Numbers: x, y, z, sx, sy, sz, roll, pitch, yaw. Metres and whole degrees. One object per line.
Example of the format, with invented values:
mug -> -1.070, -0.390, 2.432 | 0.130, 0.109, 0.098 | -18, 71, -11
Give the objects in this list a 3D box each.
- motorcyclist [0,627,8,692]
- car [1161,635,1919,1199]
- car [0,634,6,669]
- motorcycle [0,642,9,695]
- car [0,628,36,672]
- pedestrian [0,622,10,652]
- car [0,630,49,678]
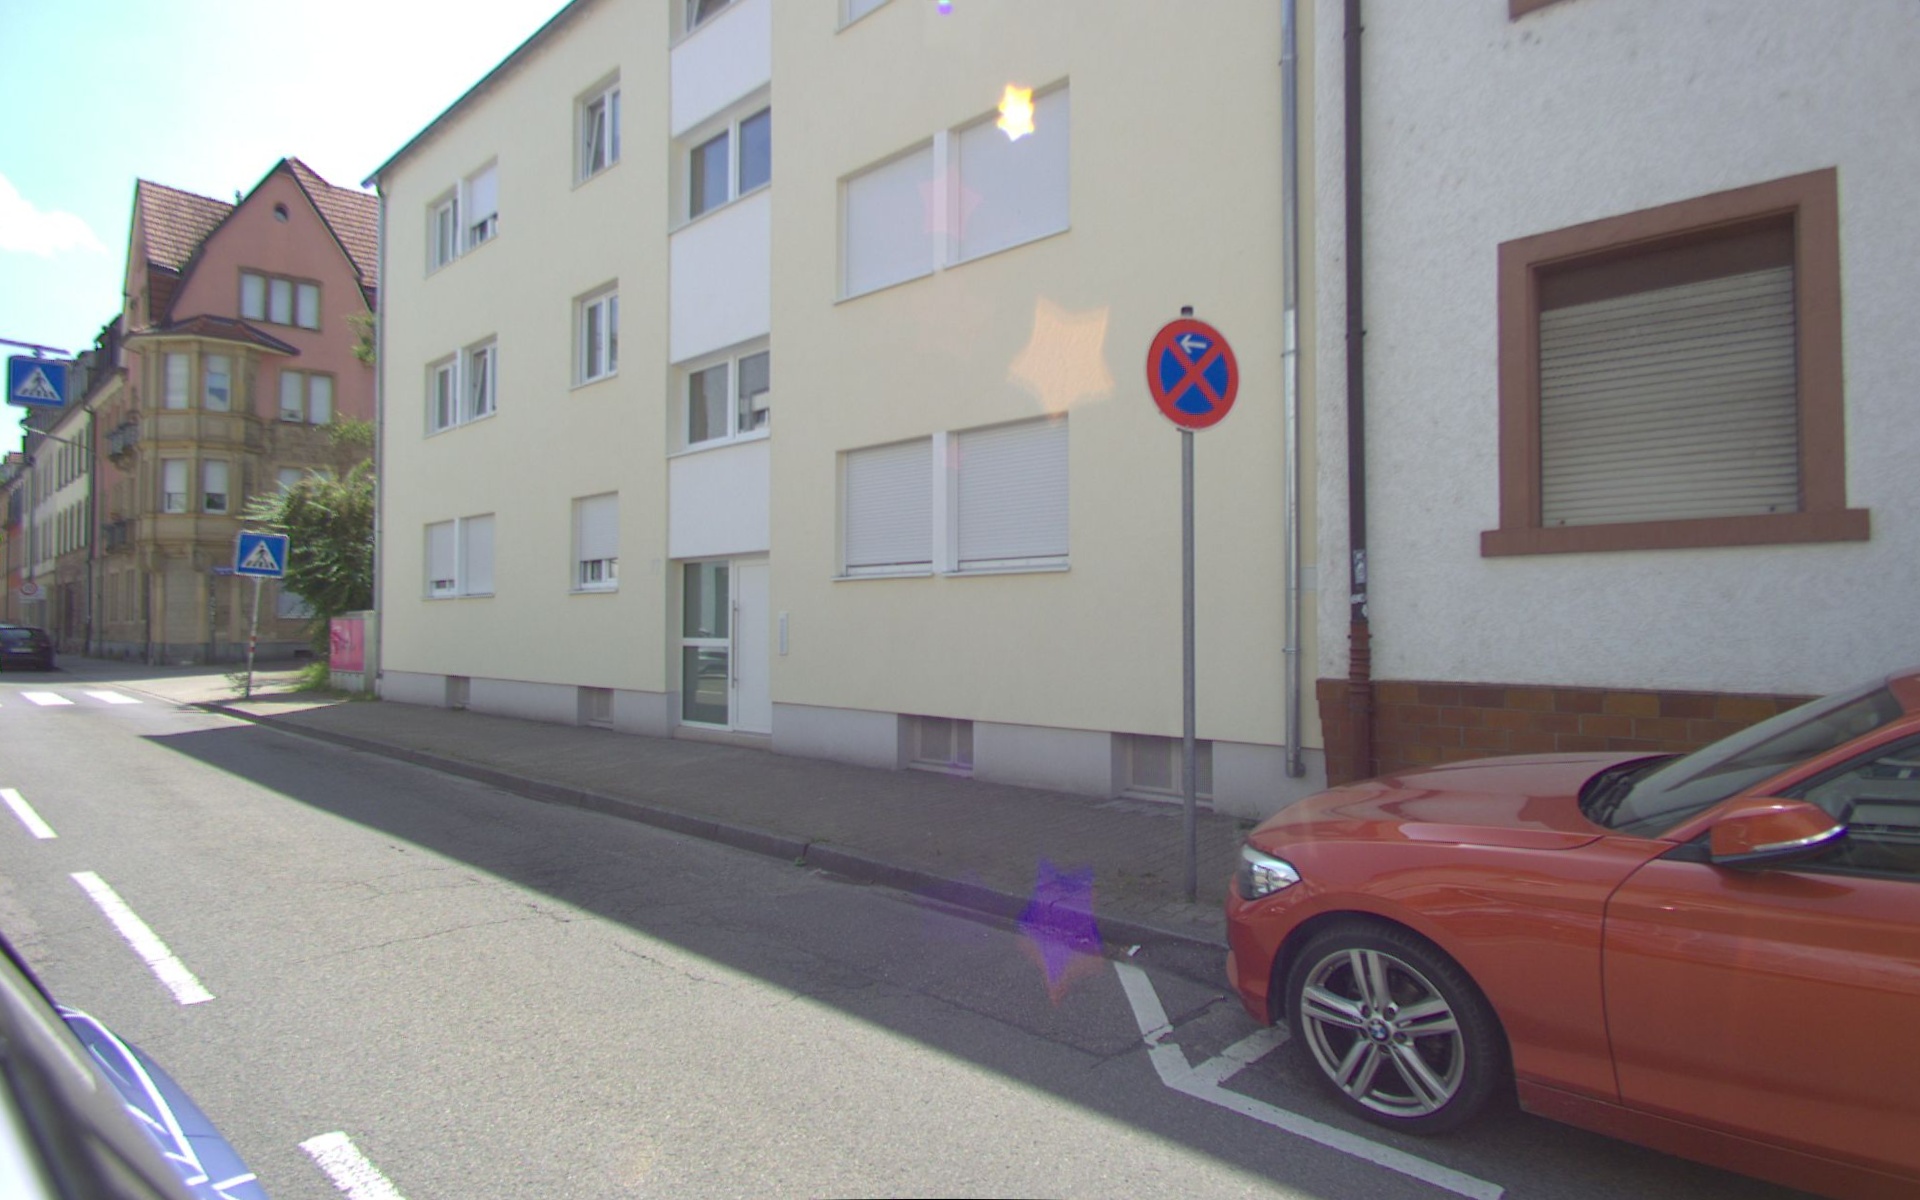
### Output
motorcyclist -> -22.708, 1.365, 23.373 | 1.202, 1.491, 0.906 | -2, -2, 41
car -> 2.854, 0.822, 2.635 | 4.291, 1.427, 1.813 | -1, -2, 44
car -> -41.289, 2.125, 42.393 | 4.018, 1.442, 1.617 | -2, -4, 43
motorcycle -> -22.753, 1.575, 23.402 | 2.207, 1.185, 0.887 | -2, -2, 42
car -> -34.289, 1.771, 36.264 | 2.695, 1.534, 1.421 | -1, -3, 42
pedestrian -> -57.367, 2.210, 60.520 | 0.763, 1.784, 0.760 | -2, -1, 41
car -> -31.298, 1.736, 33.168 | 4.635, 1.469, 1.763 | -1, -3, 43
